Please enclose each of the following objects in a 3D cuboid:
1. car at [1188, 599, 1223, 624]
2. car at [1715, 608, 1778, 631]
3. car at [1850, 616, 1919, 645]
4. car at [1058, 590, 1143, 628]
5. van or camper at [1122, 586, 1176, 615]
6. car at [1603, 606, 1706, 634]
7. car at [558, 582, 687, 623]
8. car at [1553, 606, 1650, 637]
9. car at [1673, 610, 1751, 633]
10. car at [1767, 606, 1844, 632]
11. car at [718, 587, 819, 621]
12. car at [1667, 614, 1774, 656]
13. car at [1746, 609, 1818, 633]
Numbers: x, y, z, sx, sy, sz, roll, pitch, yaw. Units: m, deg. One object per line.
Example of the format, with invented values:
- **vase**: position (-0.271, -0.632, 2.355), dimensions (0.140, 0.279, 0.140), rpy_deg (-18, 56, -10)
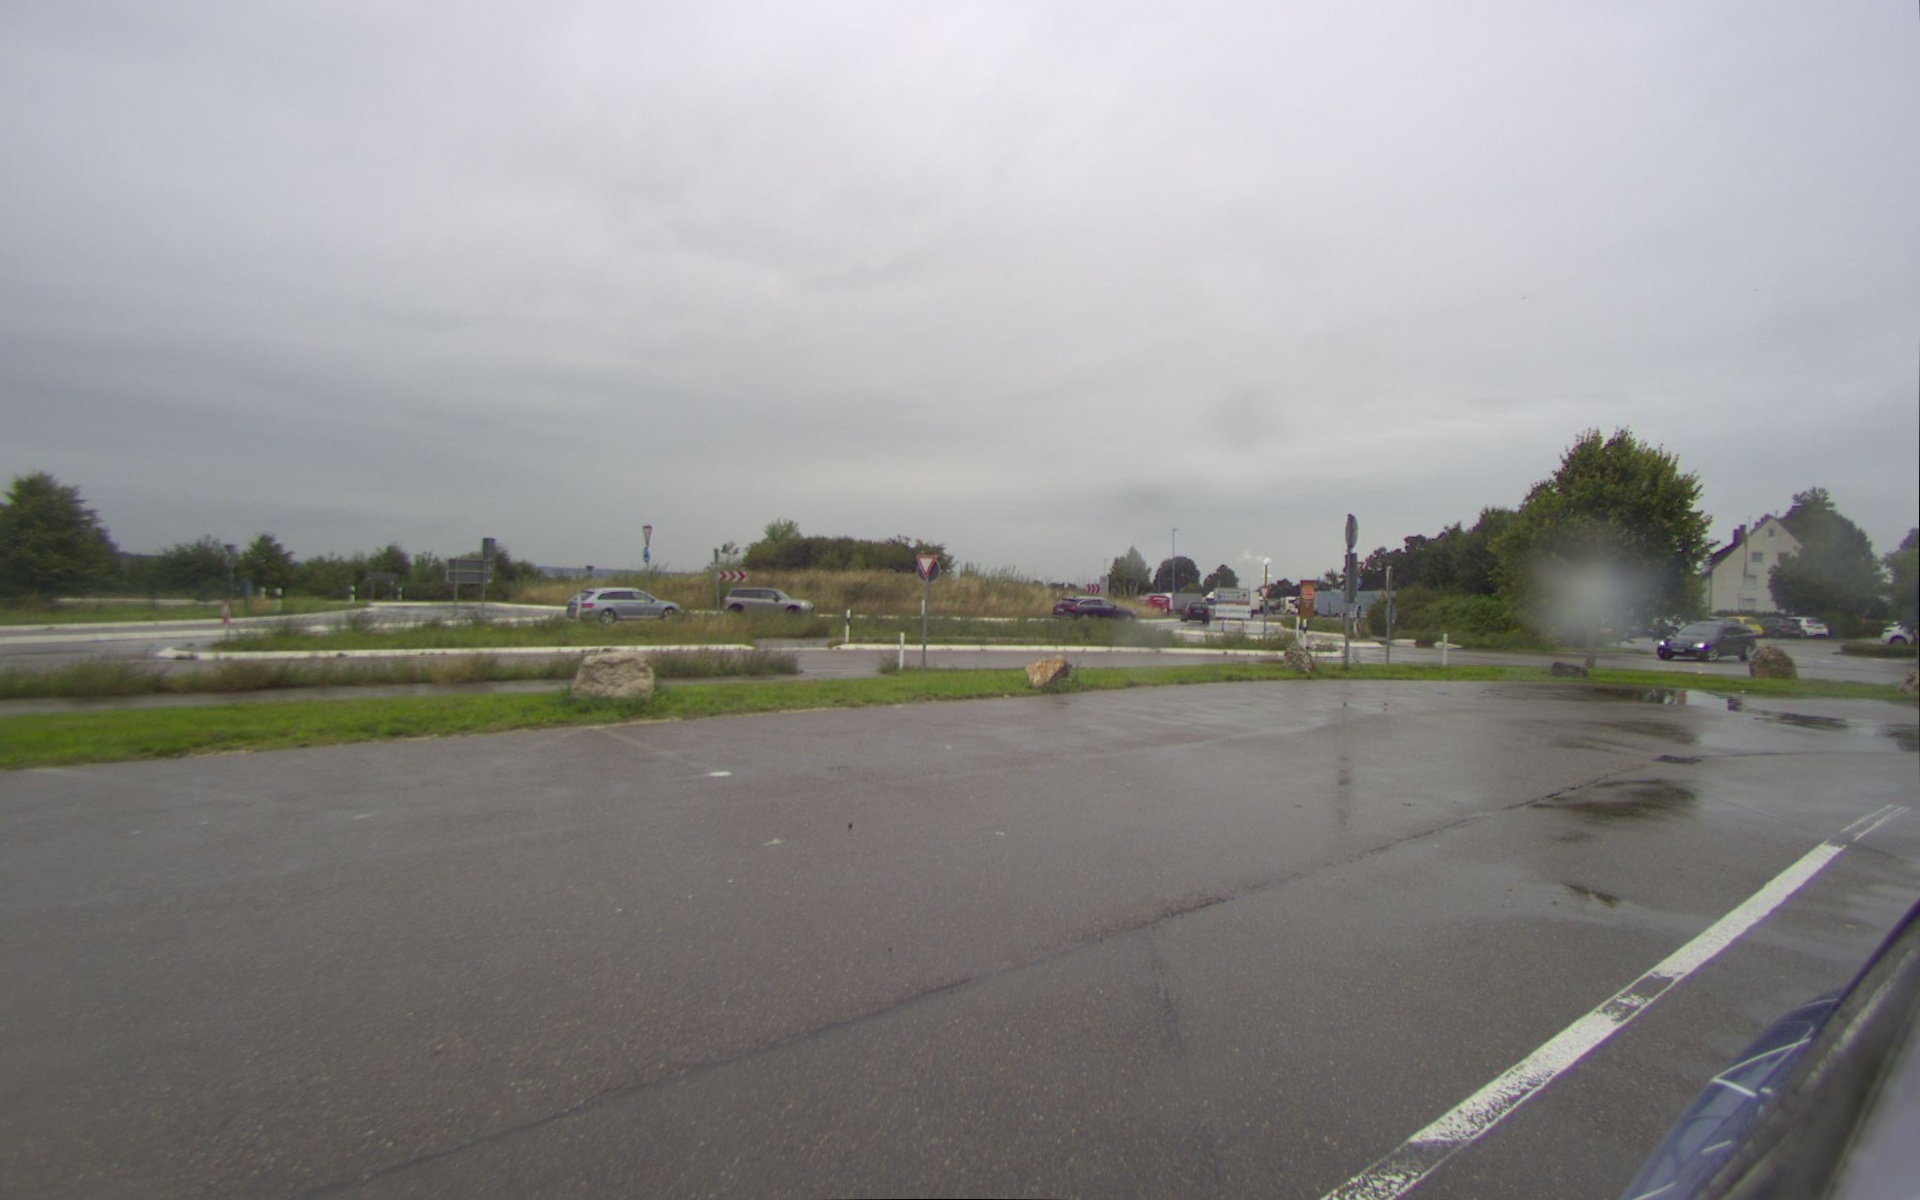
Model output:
- **car**: position (16.704, 0.763, 69.060), dimensions (1.967, 1.623, 4.512), rpy_deg (0, 0, 9)
- **car**: position (55.349, 1.337, 71.294), dimensions (1.635, 1.569, 3.724), rpy_deg (1, 0, 2)
- **car**: position (51.266, 1.663, 54.900), dimensions (1.819, 1.443, 4.350), rpy_deg (1, 0, -44)
- **car**: position (7.134, 0.400, 51.186), dimensions (1.887, 1.704, 4.596), rpy_deg (4, 4, 44)
- **van or camper**: position (15.222, 0.030, 81.675), dimensions (1.958, 2.038, 4.859), rpy_deg (2, 2, -20)
- **car**: position (46.067, 1.286, 67.249), dimensions (1.966, 1.744, 5.366), rpy_deg (2, -1, -42)
- **car**: position (-13.726, 0.118, 41.365), dimensions (1.994, 1.500, 4.589), rpy_deg (3, 1, 43)
- **car**: position (38.677, 1.282, 61.067), dimensions (1.966, 1.744, 4.599), rpy_deg (2, -1, -42)
- **car**: position (52.744, 1.483, 71.077), dimensions (1.962, 1.570, 4.648), rpy_deg (1, -1, -1)
- **car**: position (60.012, 1.331, 71.890), dimensions (1.951, 1.750, 4.003), rpy_deg (1, 0, -4)
- **car**: position (-8.635, 0.157, 45.840), dimensions (4.230, 1.340, 1.756), rpy_deg (2, 3, 2)
- **car**: position (28.698, 1.283, 38.158), dimensions (4.273, 1.443, 1.708), rpy_deg (0, 1, -30)
- **car**: position (57.676, 1.476, 71.076), dimensions (1.715, 1.590, 3.891), rpy_deg (1, 0, -3)
